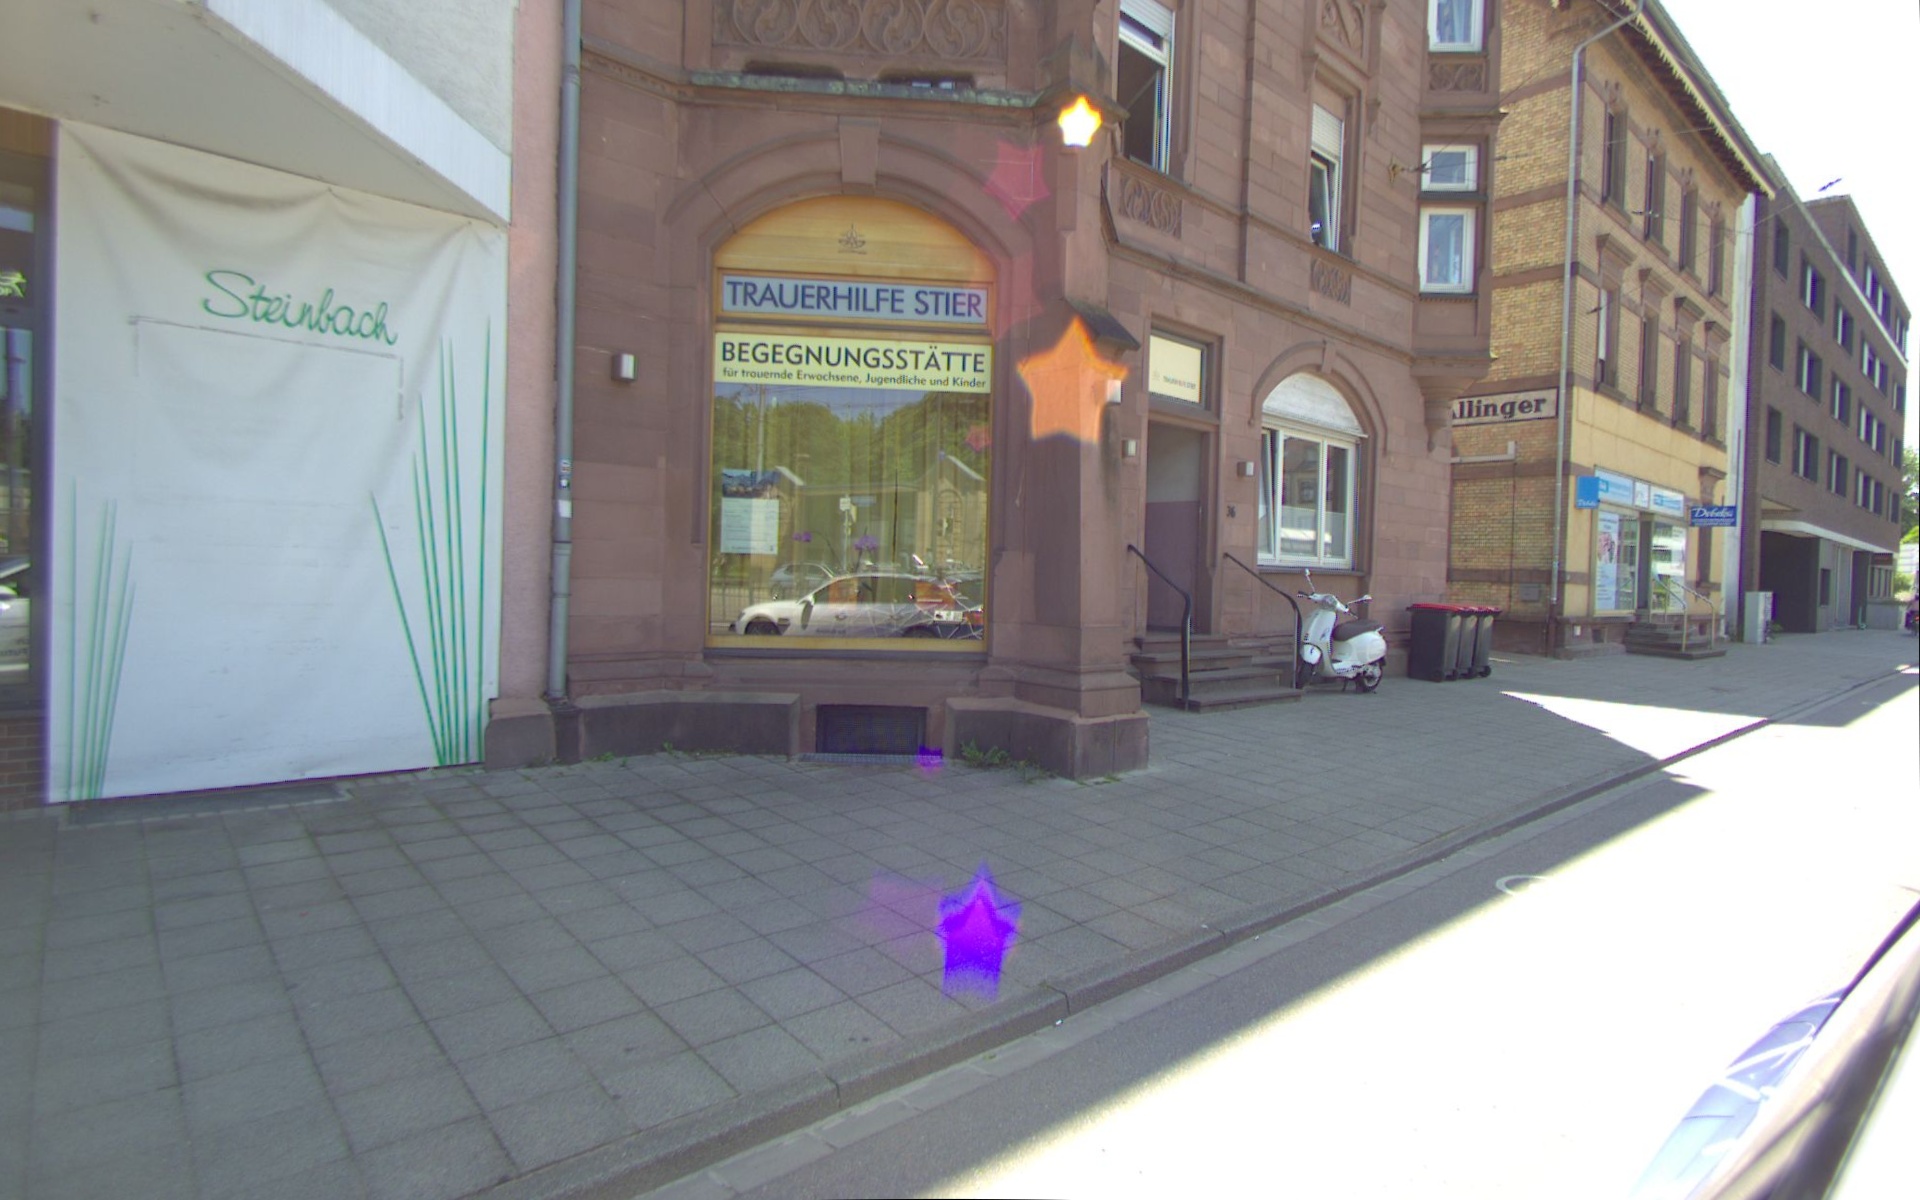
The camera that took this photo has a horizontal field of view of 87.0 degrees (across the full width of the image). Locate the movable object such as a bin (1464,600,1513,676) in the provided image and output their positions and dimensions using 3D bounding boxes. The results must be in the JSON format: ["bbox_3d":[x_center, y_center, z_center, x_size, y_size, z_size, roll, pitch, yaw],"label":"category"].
[{"bbox_3d":[7.678,0.537,14.698,0.646,1.061,0.376,0,4,-42],"label":"movable object such as a bin"}]

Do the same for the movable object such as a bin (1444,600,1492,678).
[{"bbox_3d":[7.206,0.544,14.356,0.549,1.061,0.376,0,4,-42],"label":"movable object such as a bin"}]

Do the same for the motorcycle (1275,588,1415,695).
[{"bbox_3d":[4.537,0.456,11.866,1.843,1.163,0.529,1,1,-33],"label":"motorcycle"}]

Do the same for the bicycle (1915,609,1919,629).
[{"bbox_3d":[40.070,0.806,41.738,1.872,0.807,0.690,0,1,-37],"label":"bicycle"}]

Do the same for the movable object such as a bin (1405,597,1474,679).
[{"bbox_3d":[6.680,0.519,14.099,0.549,1.061,0.649,0,4,-42],"label":"movable object such as a bin"}]
